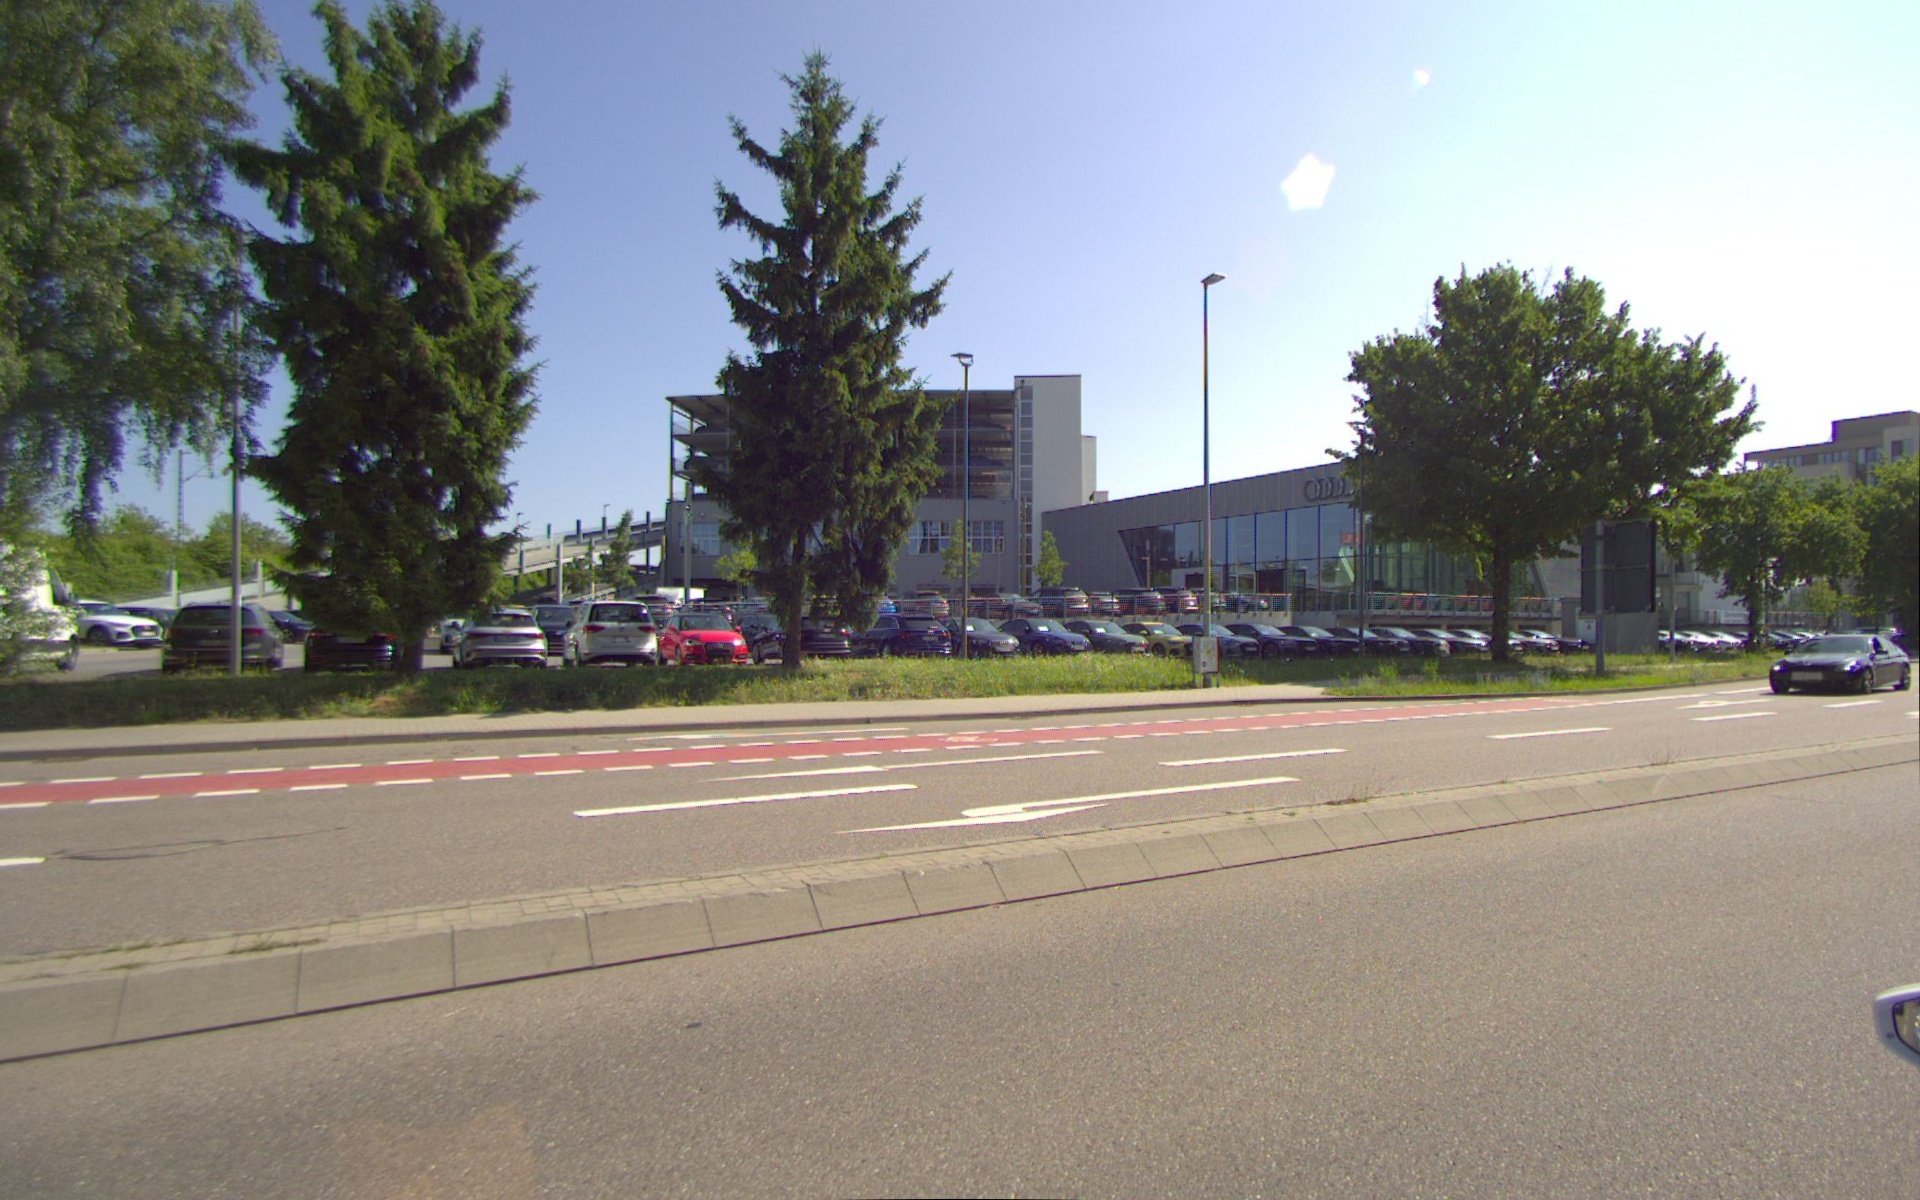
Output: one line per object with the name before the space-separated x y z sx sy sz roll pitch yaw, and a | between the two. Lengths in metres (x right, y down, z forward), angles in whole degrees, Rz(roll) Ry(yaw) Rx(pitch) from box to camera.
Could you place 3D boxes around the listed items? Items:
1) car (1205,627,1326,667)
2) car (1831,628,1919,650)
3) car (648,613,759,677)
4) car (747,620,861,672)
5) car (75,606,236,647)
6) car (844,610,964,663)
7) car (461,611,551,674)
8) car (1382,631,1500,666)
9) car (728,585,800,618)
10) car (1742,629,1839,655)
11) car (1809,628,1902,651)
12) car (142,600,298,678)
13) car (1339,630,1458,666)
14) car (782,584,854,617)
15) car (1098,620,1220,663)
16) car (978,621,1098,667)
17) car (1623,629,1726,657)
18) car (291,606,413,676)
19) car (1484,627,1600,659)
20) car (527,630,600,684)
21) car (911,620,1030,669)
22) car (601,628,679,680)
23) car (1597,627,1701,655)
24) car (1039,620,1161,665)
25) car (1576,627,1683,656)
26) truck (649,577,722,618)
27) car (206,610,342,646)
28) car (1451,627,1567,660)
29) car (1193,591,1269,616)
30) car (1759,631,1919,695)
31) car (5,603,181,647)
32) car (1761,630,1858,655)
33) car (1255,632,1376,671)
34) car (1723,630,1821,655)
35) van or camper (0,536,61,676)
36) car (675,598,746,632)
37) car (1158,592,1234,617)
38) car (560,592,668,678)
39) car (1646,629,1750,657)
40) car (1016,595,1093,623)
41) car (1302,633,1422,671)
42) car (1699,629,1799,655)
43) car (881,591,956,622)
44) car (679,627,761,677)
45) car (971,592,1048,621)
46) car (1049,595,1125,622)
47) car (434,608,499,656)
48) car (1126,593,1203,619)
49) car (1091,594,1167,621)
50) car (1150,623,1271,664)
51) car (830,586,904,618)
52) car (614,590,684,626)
car | 11.210 1.678 37.138 1.929 1.368 4.251 1 -2 -27
car | 59.091 2.491 64.798 1.901 1.394 3.970 1 -2 -29
car | -6.785 1.135 26.243 1.929 1.523 4.251 1 -2 -27
car | -4.434 1.230 28.008 1.929 1.346 4.251 1 -2 -27
car | -29.897 0.996 37.415 4.458 1.461 2.001 0 -1 4
car | -1.694 1.014 28.936 1.929 1.399 4.251 1 -2 -27
car | -10.528 0.941 23.142 1.721 1.310 4.072 1 -2 -27
car | 20.212 1.992 42.395 1.929 1.368 4.251 1 -2 -27
car | -8.602 0.103 43.832 1.930 1.368 4.249 1 -2 -28
car | 48.258 2.420 58.438 1.901 1.394 3.970 1 -2 -29
car | 56.316 2.490 63.251 1.901 1.394 3.970 1 -2 -29
car | -15.265 0.780 20.958 1.719 1.457 4.077 1 -1 -24
car | 17.893 1.930 41.213 1.929 1.368 4.251 1 -2 -27
car | -6.476 0.071 45.433 1.930 1.368 4.249 1 -2 -28
car | 6.796 1.392 34.724 1.929 1.368 4.251 1 -2 -27
car | 2.405 1.370 32.108 1.929 1.368 4.251 1 -2 -27
car | 36.976 2.218 52.104 1.843 1.394 3.970 1 -2 -29
car | -13.125 0.875 21.913 1.719 1.372 4.077 2 -2 -24
car | 26.511 1.915 45.897 1.929 1.368 4.251 1 -2 -27
car | -13.466 1.869 33.973 1.929 1.664 4.251 1 -2 -27
car | 0.237 1.320 30.775 1.929 1.368 4.251 1 -2 -27
car | -11.191 1.817 34.975 1.929 1.664 4.251 1 -2 -27
car | 35.018 2.060 51.163 1.843 1.394 3.970 1 -2 -29
car | 4.557 1.361 33.268 1.929 1.368 4.251 1 -2 -27
car | 33.168 2.023 49.852 1.976 1.394 3.970 1 -2 -29
truck | -21.616 -0.118 79.650 2.612 2.955 8.469 0 -2 6
car | -28.972 1.173 42.508 4.458 1.461 2.001 0 -1 4
car | 24.581 1.909 45.087 1.929 1.368 4.251 1 -2 -27
car | 15.825 0.216 58.871 1.930 1.368 4.249 1 -2 -28
car | 22.417 1.562 25.333 4.940 1.482 1.833 1 -4 -30
car | -29.998 0.878 34.837 4.458 1.461 2.001 0 -1 4
car | 50.249 2.480 59.479 1.901 1.394 3.970 1 -2 -29
car | 13.576 1.937 38.582 1.929 1.368 4.251 1 -2 -27
car | 46.215 2.388 57.234 1.901 1.394 3.970 1 -2 -29
van or camper | -18.839 0.072 18.812 1.977 2.504 5.350 -1 1 -31
car | -10.652 0.651 42.657 1.930 1.368 4.249 1 -2 -28
car | 13.426 0.283 57.446 1.930 1.368 4.249 1 -2 -28
car | -8.526 0.836 24.532 1.929 1.909 4.251 1 -1 -27
car | 39.302 2.273 53.563 2.001 1.394 4.024 1 -2 -29
car | 4.822 0.489 51.752 1.930 1.368 4.249 1 -2 -28
car | 15.856 2.016 39.842 1.929 1.368 4.251 1 -2 -27
car | 43.940 2.323 56.016 1.901 1.394 3.970 1 -2 -29
car | -2.029 0.332 47.747 1.930 1.368 4.249 1 -2 -28
car | -8.660 1.802 36.045 1.929 1.664 4.251 1 -2 -27
car | 2.419 0.352 50.238 1.930 1.368 4.249 1 -2 -28
car | 6.747 0.477 53.716 1.930 1.368 4.249 1 -2 -28
car | -16.165 1.033 32.822 1.722 1.457 4.070 1 -1 -29
car | 11.285 0.347 55.764 1.930 1.368 4.249 1 -2 -28
car | 9.102 0.431 54.379 1.930 1.368 4.249 1 -2 -28
car | 8.910 1.518 36.059 1.928 1.368 4.252 1 -2 -26
car | -4.345 0.140 46.602 1.930 1.368 4.249 1 -2 -28
car | -12.761 0.352 41.066 1.930 1.368 4.249 1 -2 -28
